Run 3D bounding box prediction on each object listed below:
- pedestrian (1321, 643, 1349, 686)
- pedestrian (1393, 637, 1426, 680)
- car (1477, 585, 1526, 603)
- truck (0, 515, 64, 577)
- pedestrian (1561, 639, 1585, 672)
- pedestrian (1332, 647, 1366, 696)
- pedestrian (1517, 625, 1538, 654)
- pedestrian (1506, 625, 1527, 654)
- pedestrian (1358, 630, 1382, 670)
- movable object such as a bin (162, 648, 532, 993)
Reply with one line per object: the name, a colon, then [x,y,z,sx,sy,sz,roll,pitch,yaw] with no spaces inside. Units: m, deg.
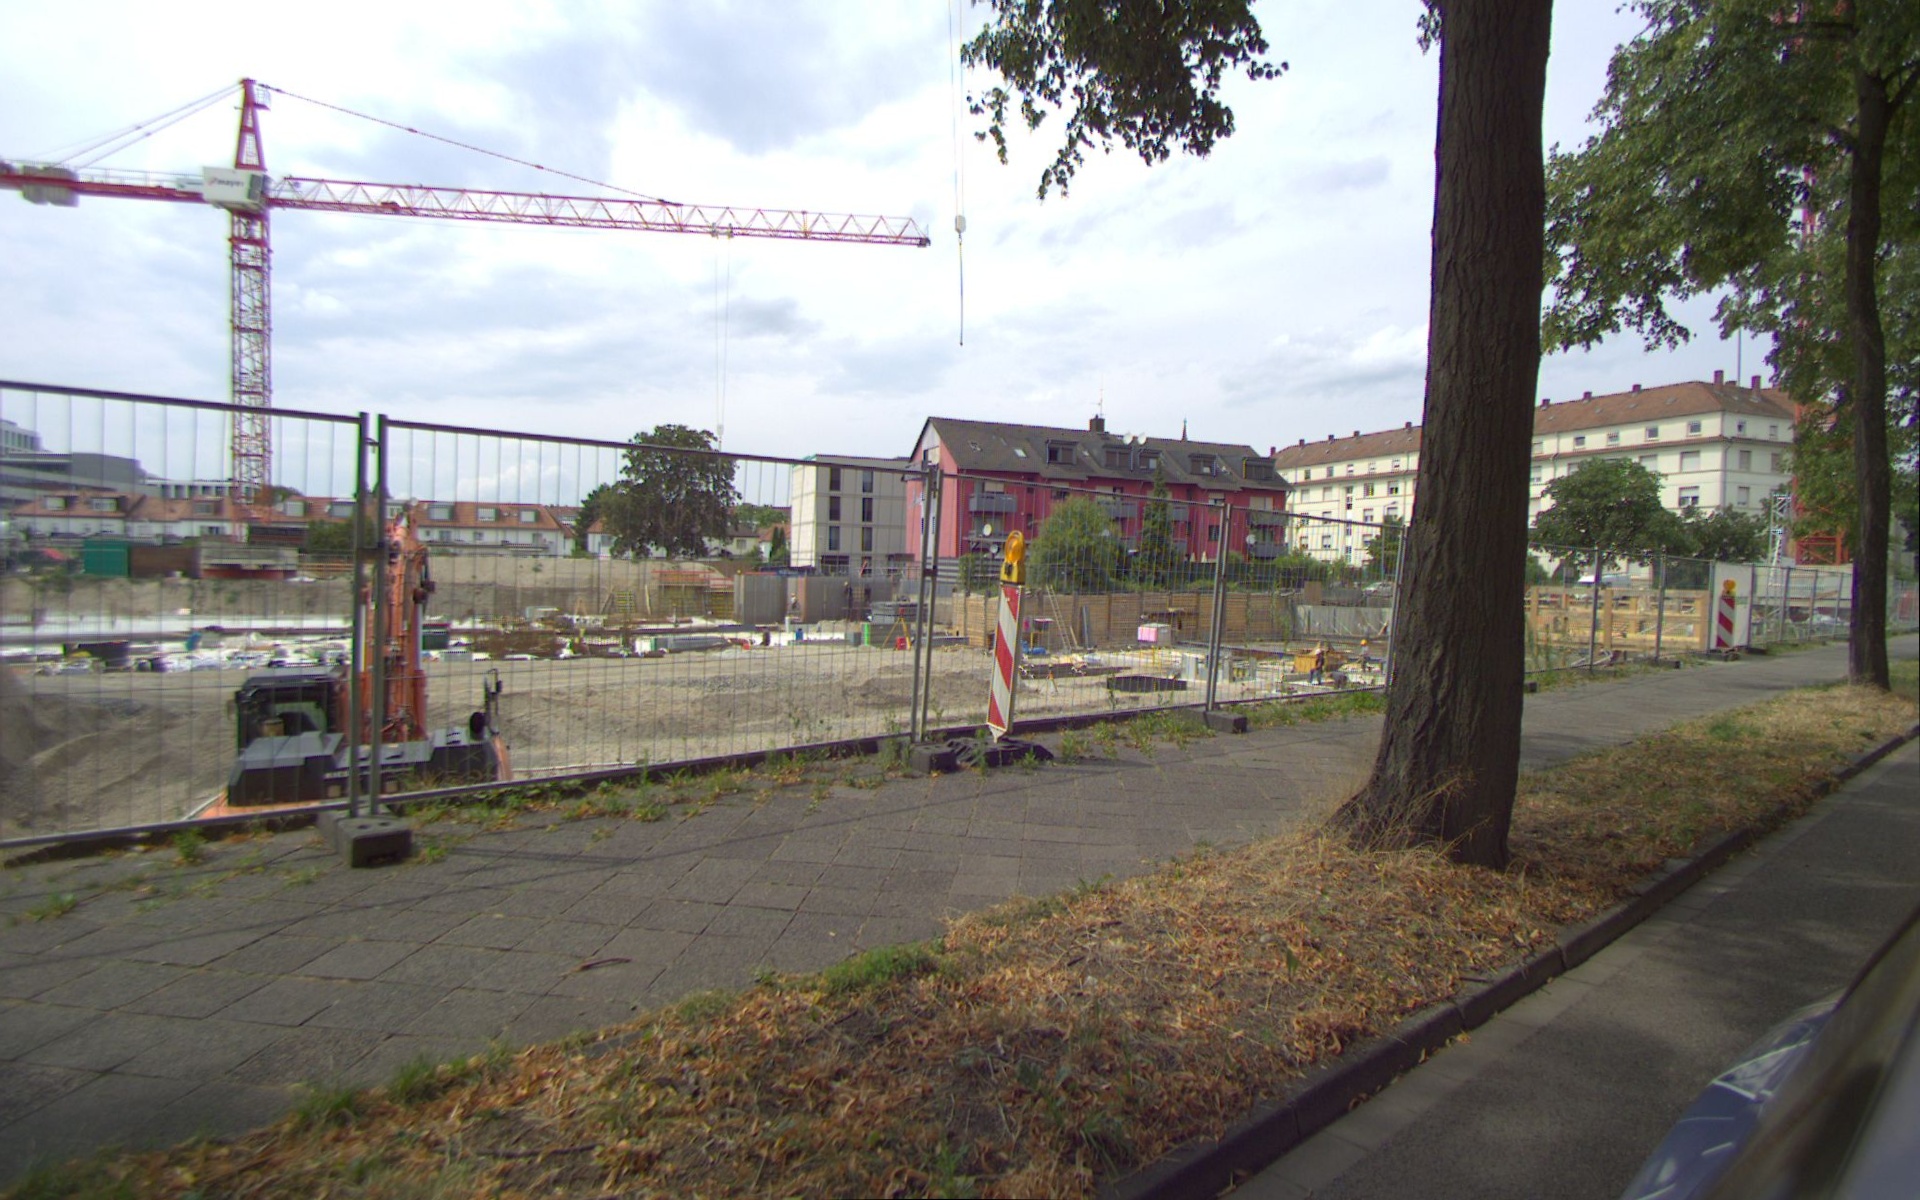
pedestrian: [16.165,2.768,43.618,0.828,1.743,0.722,2,2,-6]
pedestrian: [19.346,2.498,43.574,0.965,1.743,0.845,2,2,2]
car: [48.366,-0.540,90.398,3.836,1.609,1.804,-1,0,-20]
truck: [-68.885,-3.861,69.819,10.060,4.183,3.357,0,3,-29]
pedestrian: [34.551,3.111,57.015,0.706,1.743,0.846,2,2,-3]
pedestrian: [14.727,2.708,38.325,0.705,1.743,0.847,1,3,-24]
pedestrian: [35.624,2.472,63.576,0.706,1.743,0.846,2,2,-3]
pedestrian: [34.854,2.448,63.353,0.706,1.743,0.846,2,2,-3]
pedestrian: [18.935,2.310,46.723,0.707,1.743,0.845,2,2,2]
movable object such as a bin: [-6.861,2.138,11.955,3.068,2.621,4.708,1,3,-26]
